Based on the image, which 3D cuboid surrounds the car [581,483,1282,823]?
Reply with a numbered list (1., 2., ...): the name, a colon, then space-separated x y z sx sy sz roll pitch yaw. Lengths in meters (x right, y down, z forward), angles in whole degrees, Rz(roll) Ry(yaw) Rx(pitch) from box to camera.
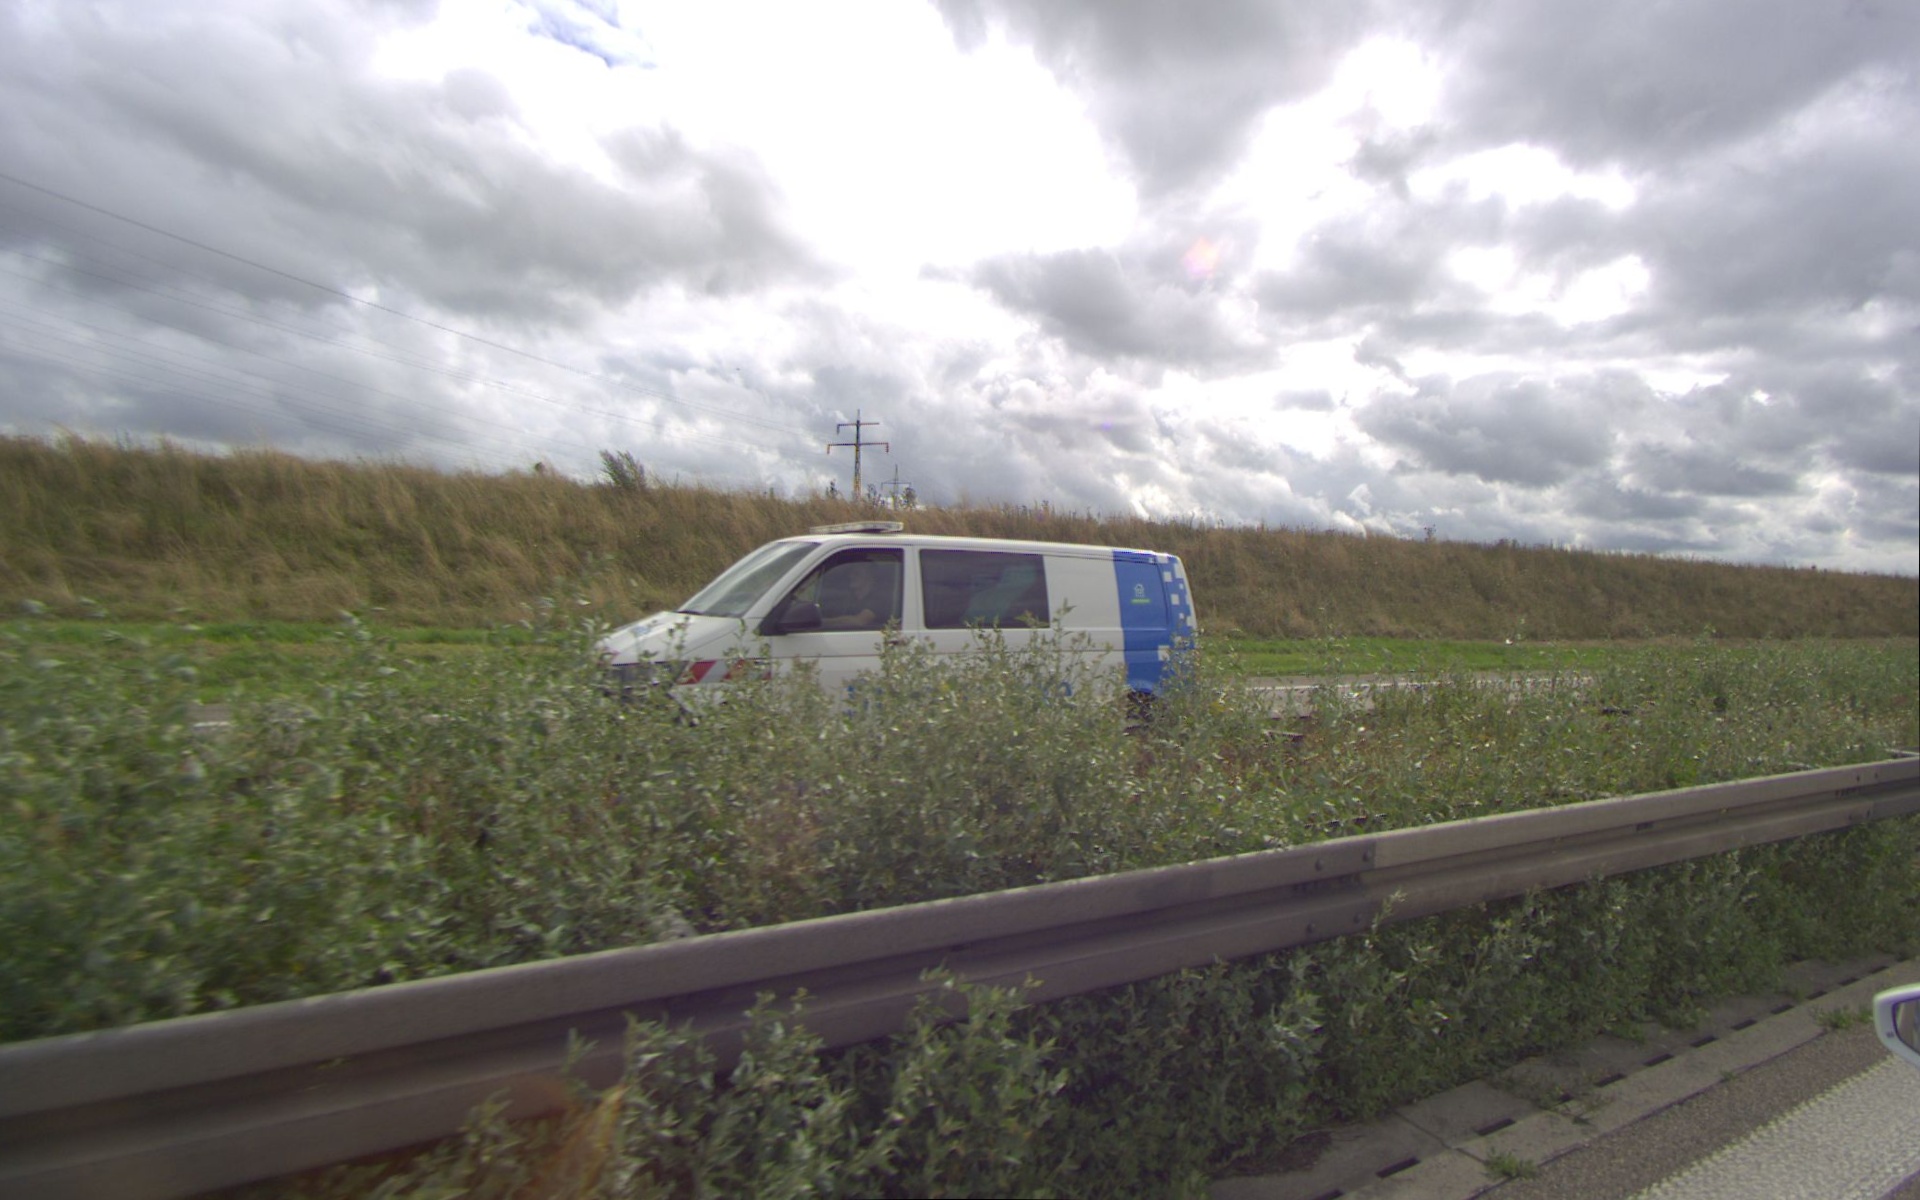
1. car: -0.056 0.381 8.268 5.467 2.040 1.984 2 0 -30
